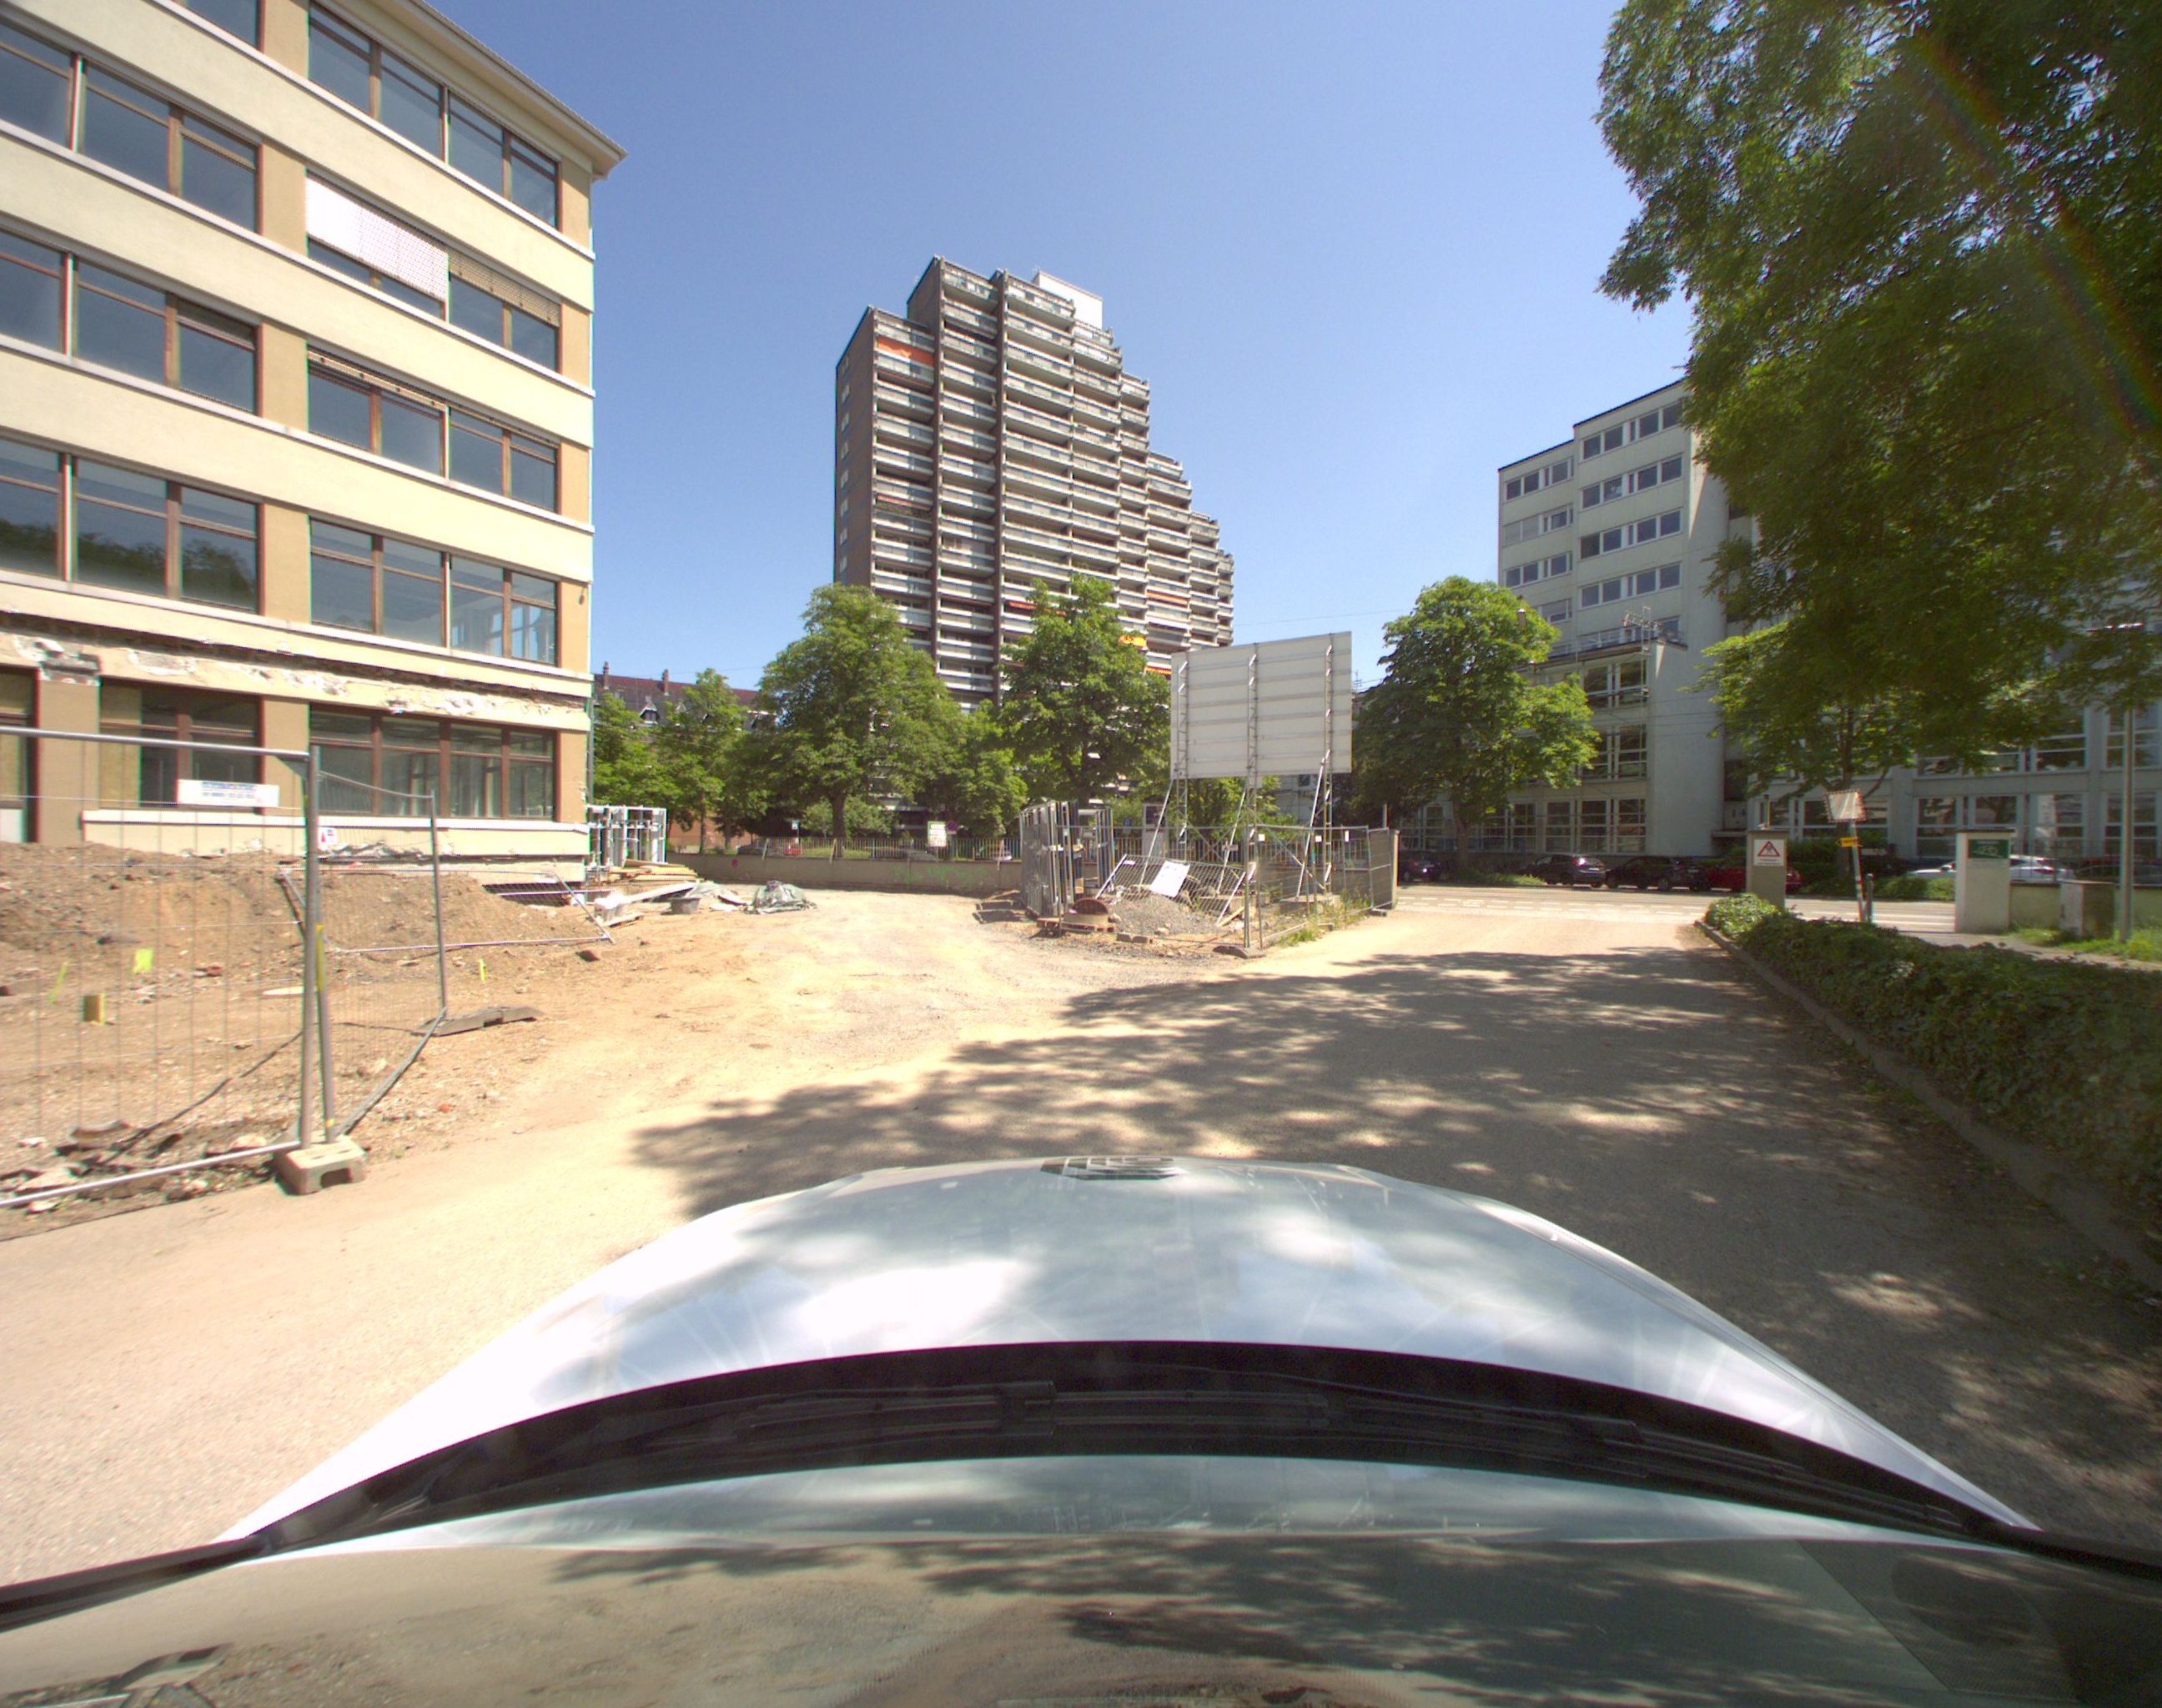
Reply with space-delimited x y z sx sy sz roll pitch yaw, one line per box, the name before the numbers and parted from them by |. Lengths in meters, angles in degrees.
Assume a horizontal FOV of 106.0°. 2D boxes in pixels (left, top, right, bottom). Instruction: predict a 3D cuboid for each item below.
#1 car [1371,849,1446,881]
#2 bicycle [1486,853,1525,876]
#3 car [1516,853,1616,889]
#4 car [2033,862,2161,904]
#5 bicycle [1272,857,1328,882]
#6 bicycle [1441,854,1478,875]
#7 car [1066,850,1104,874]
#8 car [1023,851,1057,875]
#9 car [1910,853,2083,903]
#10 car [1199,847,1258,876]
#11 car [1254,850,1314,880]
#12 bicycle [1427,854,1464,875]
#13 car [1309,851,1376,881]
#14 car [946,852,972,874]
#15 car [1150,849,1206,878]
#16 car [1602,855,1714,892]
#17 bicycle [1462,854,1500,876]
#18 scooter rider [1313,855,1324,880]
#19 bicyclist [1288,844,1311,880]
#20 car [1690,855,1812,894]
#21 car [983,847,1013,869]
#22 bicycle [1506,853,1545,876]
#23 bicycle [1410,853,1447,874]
car | 15.532 0.507 38.835 1.634 1.463 3.664 0 0 -11
bicycle | 22.442 0.557 43.045 2.442 1.188 0.774 0 0 -35
car | 21.174 0.697 35.682 1.643 1.463 3.658 0 0 -16
car | 34.637 0.924 26.997 1.607 1.281 3.732 0 0 -10
bicycle | 10.352 0.724 38.519 2.409 1.152 0.791 0 0 27
bicycle | 20.948 0.558 45.008 2.394 1.157 0.774 0 0 -35
car | 0.179 0.438 47.938 1.633 1.387 3.665 0 0 -10
car | -2.539 0.543 49.914 1.633 1.387 3.665 0 0 -10
car | 32.005 0.780 28.615 1.610 1.620 3.725 0 0 -16
car | 7.626 0.374 42.489 1.636 1.463 3.658 0 0 -16
car | 10.324 0.532 41.663 1.634 1.463 3.664 0 0 -11
bicycle | 20.450 0.572 45.714 2.394 1.157 0.774 0 0 -35
car | 12.922 0.564 40.504 1.634 1.463 3.664 0 0 -11
car | -7.858 0.567 52.274 1.633 1.387 3.665 0 0 -10
car | 4.968 0.460 42.031 1.636 1.463 3.658 0 0 -16
car | 23.837 0.757 33.784 1.609 1.445 3.661 0 0 -13
bicycle | 21.653 0.581 44.079 2.394 1.157 0.774 0 0 -35
scooter rider | 10.842 0.612 37.237 0.412 1.134 0.361 0 0 28
bicyclist | 10.348 0.381 38.517 0.889 1.665 0.864 0 0 28
car | 26.509 0.778 32.379 1.607 1.436 3.591 0 0 -10
car | -5.316 0.251 51.796 1.633 1.387 3.665 0 0 -10
bicycle | 23.063 0.544 42.223 2.442 1.188 0.774 0 0 -35
bicycle | 19.844 0.551 46.484 2.394 1.157 0.774 0 0 -35
